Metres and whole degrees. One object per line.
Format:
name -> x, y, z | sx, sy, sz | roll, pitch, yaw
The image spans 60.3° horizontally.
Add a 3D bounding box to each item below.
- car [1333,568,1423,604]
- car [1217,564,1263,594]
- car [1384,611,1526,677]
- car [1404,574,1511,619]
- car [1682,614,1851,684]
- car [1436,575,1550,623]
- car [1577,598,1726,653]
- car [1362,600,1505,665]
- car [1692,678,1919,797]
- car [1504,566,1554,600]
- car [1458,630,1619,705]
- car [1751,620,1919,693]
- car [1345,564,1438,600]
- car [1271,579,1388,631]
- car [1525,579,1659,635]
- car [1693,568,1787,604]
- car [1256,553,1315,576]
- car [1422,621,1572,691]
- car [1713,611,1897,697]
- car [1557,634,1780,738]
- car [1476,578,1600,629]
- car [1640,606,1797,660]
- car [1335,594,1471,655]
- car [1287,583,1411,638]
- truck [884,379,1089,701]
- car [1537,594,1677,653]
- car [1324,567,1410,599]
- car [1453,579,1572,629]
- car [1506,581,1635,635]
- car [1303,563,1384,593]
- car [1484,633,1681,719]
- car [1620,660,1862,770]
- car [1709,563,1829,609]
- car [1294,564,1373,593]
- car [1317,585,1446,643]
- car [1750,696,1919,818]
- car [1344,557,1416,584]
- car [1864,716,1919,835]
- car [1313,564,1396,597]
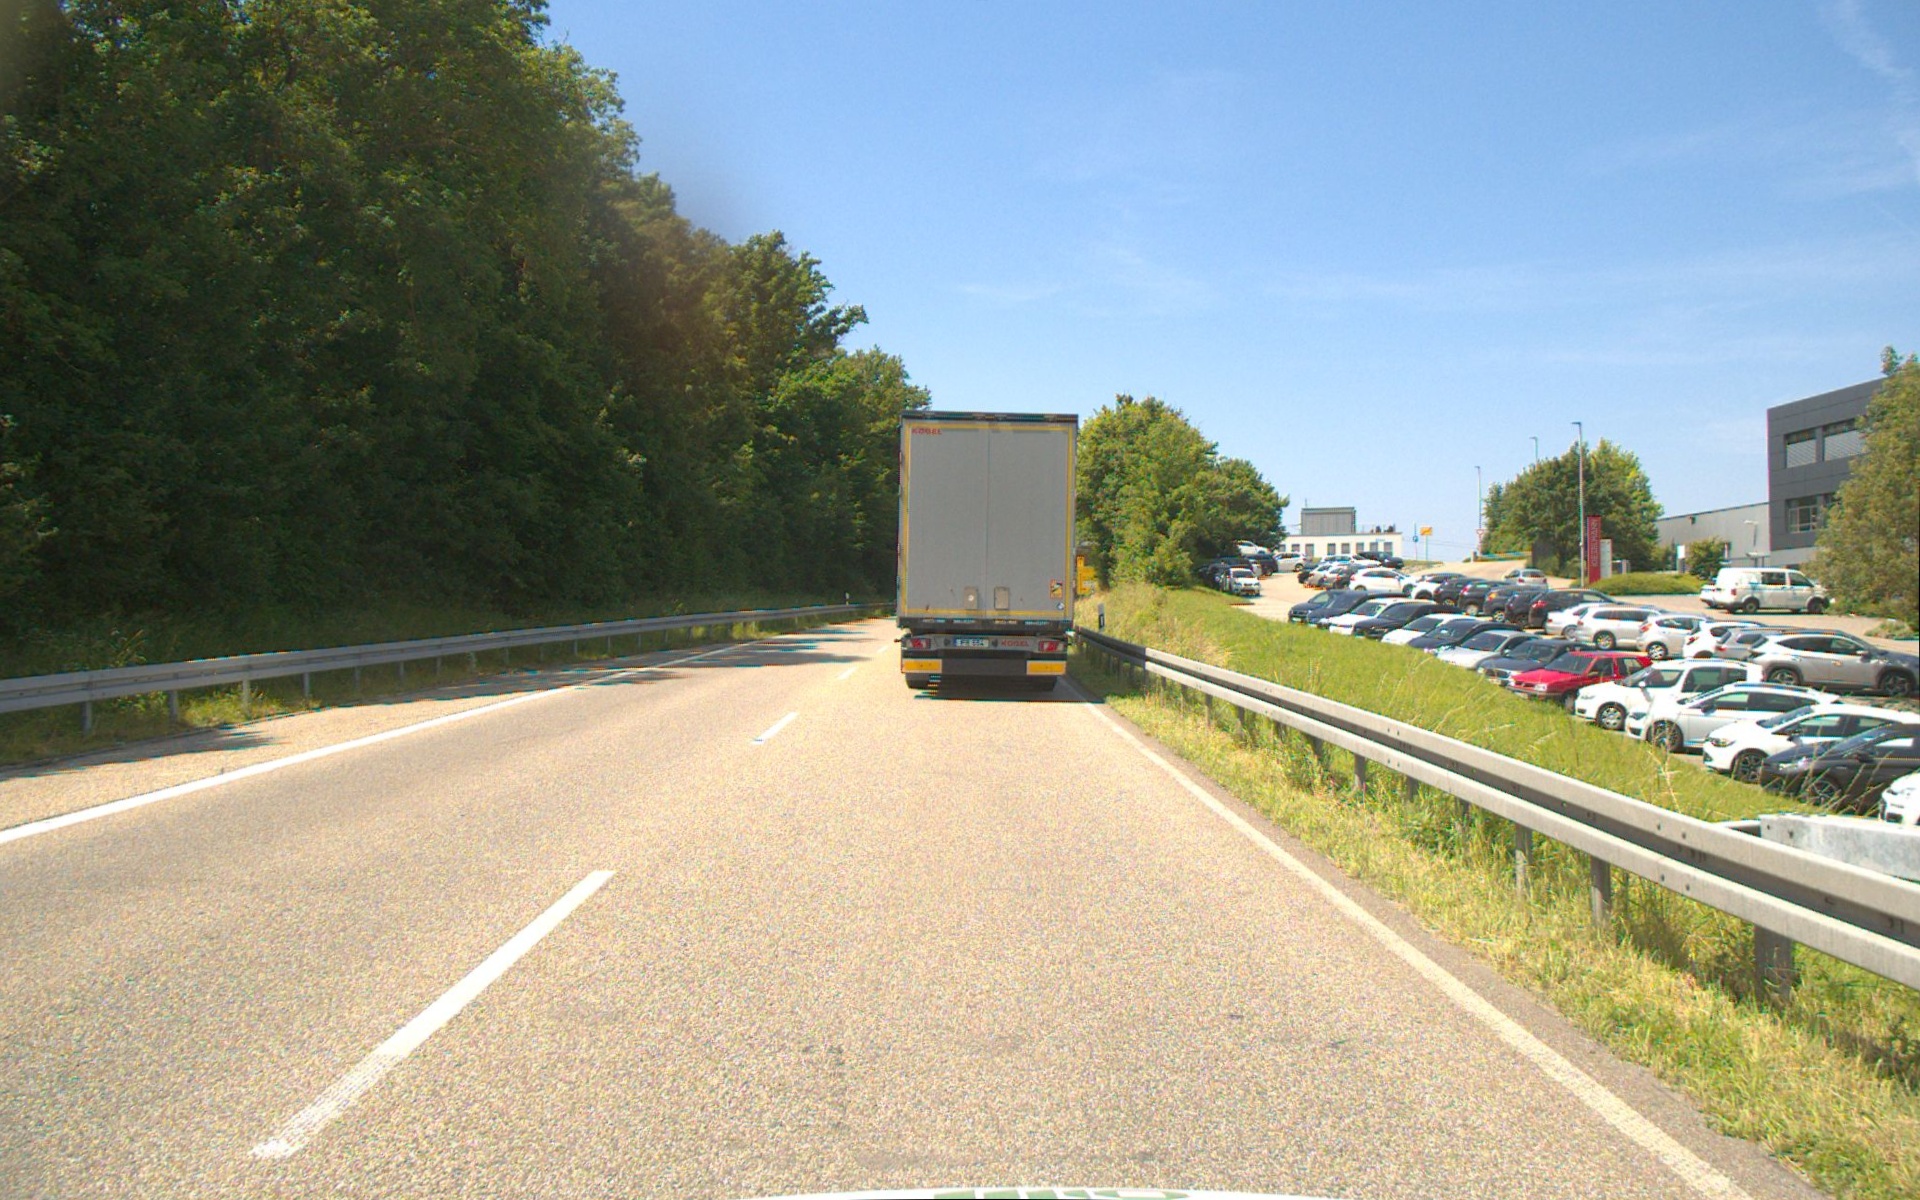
car -> 22.672, -0.772, 89.617 | 4.478, 1.657, 1.821 | 4, 2, 21
car -> 15.472, -1.184, 91.431 | 1.592, 1.376, 3.709 | 5, 3, -4
car -> 15.088, 1.349, 50.330 | 4.331, 1.714, 1.864 | 3, 3, -38
car -> 23.343, -0.177, 77.593 | 4.485, 1.656, 1.819 | 6, 3, 26
car -> 24.386, 1.456, 50.173 | 4.482, 1.656, 1.821 | 2, 7, 25
car -> 23.657, -0.052, 73.394 | 4.485, 1.656, 1.819 | 6, 3, 26
car -> 23.621, 0.850, 56.559 | 4.487, 1.546, 1.818 | 2, 5, 30
car -> 15.357, 1.056, 53.580 | 4.314, 1.714, 1.871 | 3, 3, -29
car -> 15.966, 2.528, 30.638 | 4.278, 1.585, 1.887 | 6, 3, 24
car -> 30.446, -0.898, 88.606 | 1.768, 1.691, 4.003 | 2, 0, 8
car -> 15.395, 1.806, 43.955 | 4.331, 1.714, 1.864 | 3, 3, -38
car -> 23.738, 1.479, 44.378 | 4.481, 1.656, 1.820 | 1, 4, 25
car -> 22.686, -0.945, 86.948 | 4.478, 1.657, 1.821 | 3, 2, 21
car -> 14.665, 0.202, 65.589 | 4.314, 1.714, 1.871 | 3, 3, -29
car -> 23.901, 0.239, 62.539 | 4.485, 1.656, 1.819 | 6, 3, 26
car -> 36.466, -0.652, 77.413 | 3.586, 1.615, 1.685 | 0, 2, 0
car -> 25.423, -2.787, 129.157 | 4.314, 1.714, 1.871 | -1, 5, -29
car -> 15.319, 1.602, 47.108 | 4.331, 1.714, 1.864 | 3, 3, -38
car -> 24.148, 1.500, 47.419 | 4.484, 1.654, 1.821 | 6, 11, 25
car -> 15.802, 1.885, 37.113 | 4.357, 1.714, 1.888 | 6, 3, 22
car -> 23.684, 0.122, 67.780 | 4.485, 1.656, 1.819 | 6, 3, 26
car -> 24.338, 1.054, 53.189 | 4.481, 1.503, 1.820 | -1, 4, 25
car -> 15.088, 0.851, 56.280 | 4.314, 1.714, 1.871 | 3, 3, -29
car -> 14.665, 0.393, 62.326 | 4.314, 1.714, 1.871 | 3, 3, -29
truck -> 0.337, -0.868, 27.756 | 2.807, 4.435, 9.788 | 0, 0, 0
car -> 23.397, 0.823, 59.858 | 4.485, 1.656, 1.819 | 6, 3, 26
car -> 22.813, -0.967, 92.708 | 4.477, 1.657, 1.821 | 1, 1, 21
car -> 23.507, 0.140, 70.374 | 4.485, 1.656, 1.819 | 6, 3, 26
car -> 23.966, 0.282, 64.964 | 4.485, 1.656, 1.819 | 6, 3, 26
car -> 22.952, -1.299, 98.963 | 4.477, 1.657, 1.821 | 2, -1, 20
car -> 15.249, 1.864, 40.522 | 4.303, 1.714, 1.876 | 4, 3, -23
car -> 16.030, 2.310, 34.010 | 4.283, 1.585, 1.885 | 6, 3, 29
car -> 36.110, -0.655, 73.919 | 4.478, 1.983, 1.821 | 0, 2, 0
car -> 23.003, -1.325, 101.785 | 4.478, 1.657, 1.821 | 2, 0, 21
car -> 15.192, 0.526, 59.583 | 4.314, 1.714, 1.871 | 3, 3, -29
car -> 15.854, 2.728, 27.996 | 4.278, 1.585, 1.887 | 6, 3, 24
car -> 29.059, -2.048, 114.442 | 4.493, 1.657, 1.815 | 2, 1, 34
car -> 16.239, 2.886, 24.977 | 4.278, 1.585, 1.861 | 6, 3, 24
car -> 22.884, -1.156, 95.938 | 4.478, 1.656, 1.821 | 4, 3, 20
